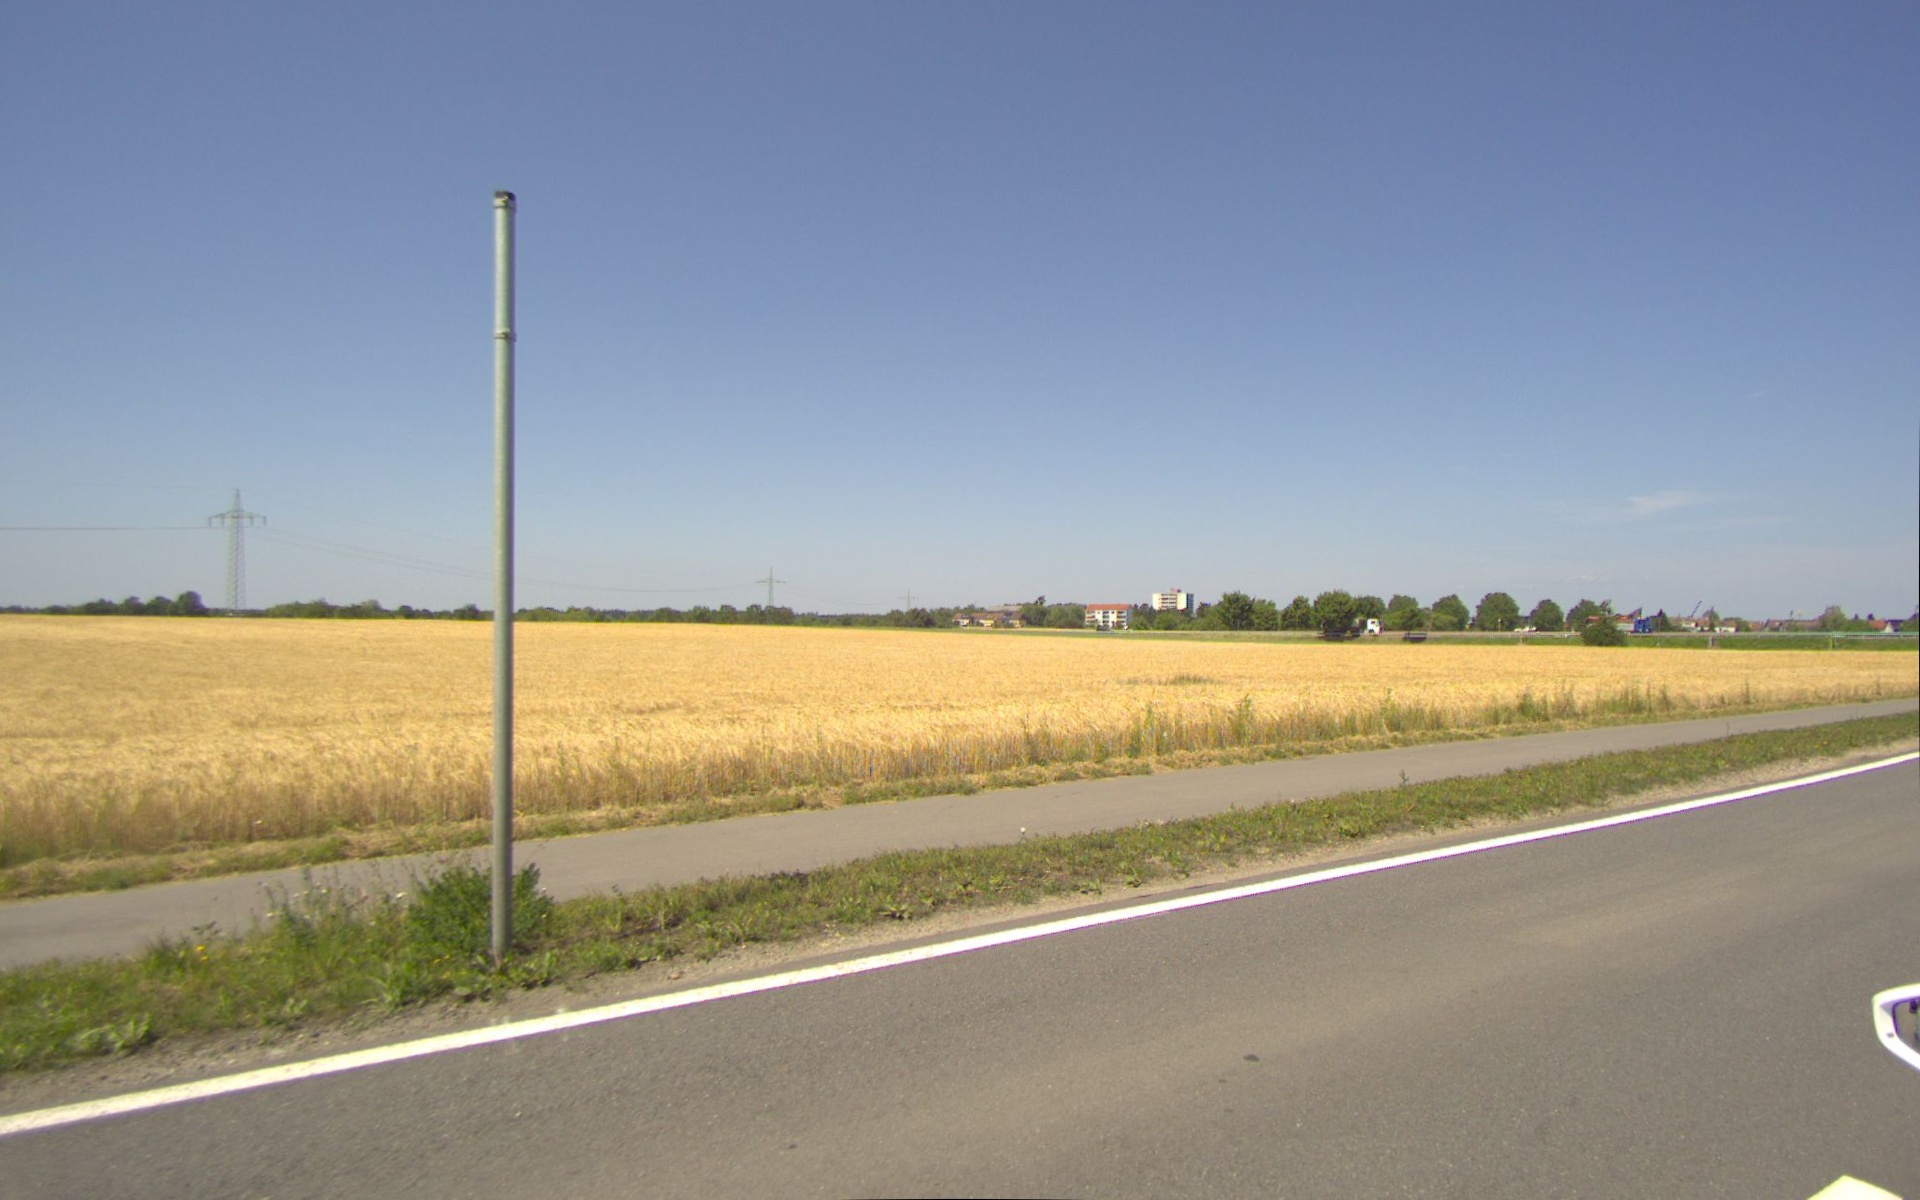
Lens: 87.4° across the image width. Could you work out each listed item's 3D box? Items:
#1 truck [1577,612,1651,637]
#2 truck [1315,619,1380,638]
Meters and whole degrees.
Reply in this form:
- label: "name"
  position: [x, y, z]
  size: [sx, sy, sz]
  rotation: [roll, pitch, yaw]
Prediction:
- label: "truck"
  position: [108.117, 4.025, 166.285]
  size: [2.599, 3.844, 10.014]
  rotation: [1, 0, -35]
- label: "truck"
  position: [77.698, 5.676, 201.619]
  size: [11.853, 3.663, 2.967]
  rotation: [0, 0, 42]
